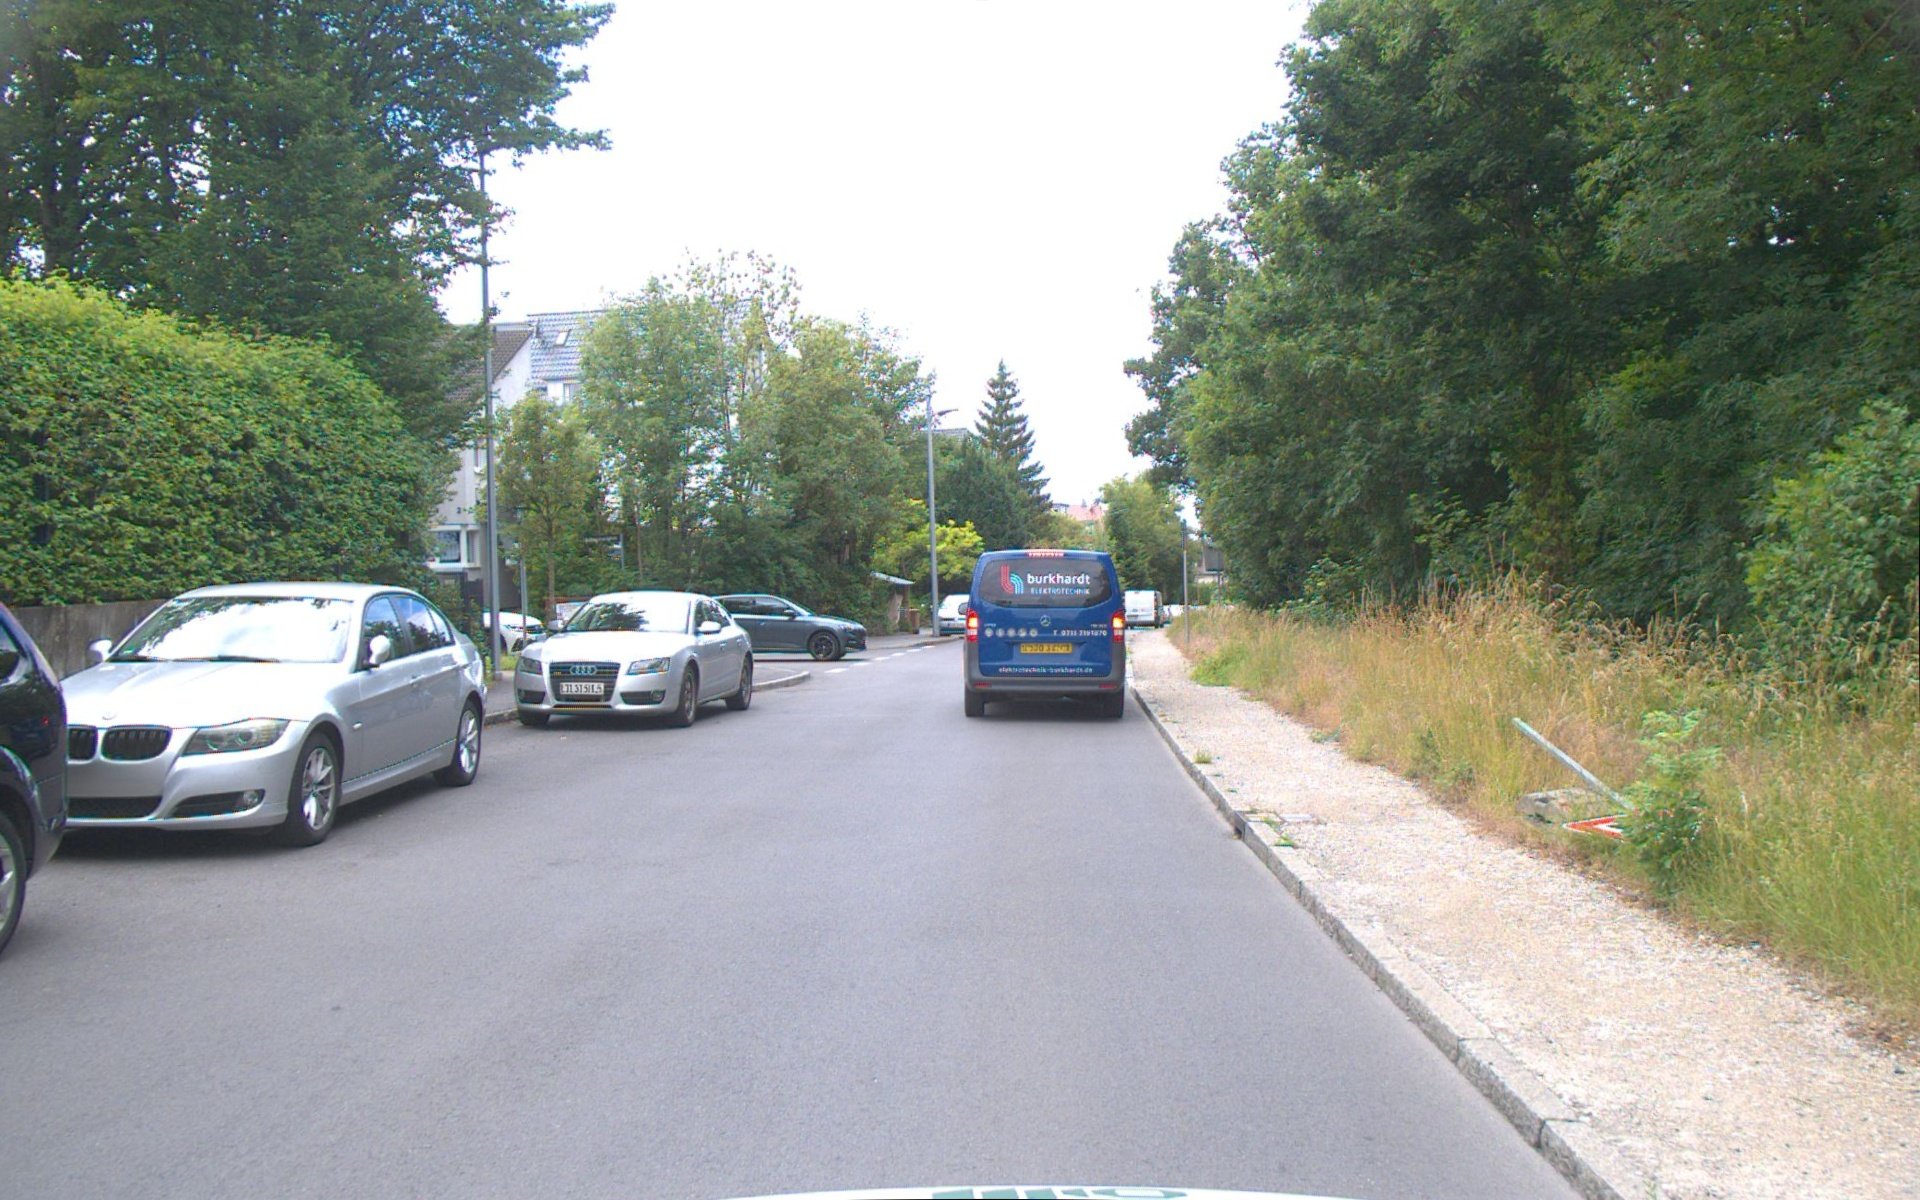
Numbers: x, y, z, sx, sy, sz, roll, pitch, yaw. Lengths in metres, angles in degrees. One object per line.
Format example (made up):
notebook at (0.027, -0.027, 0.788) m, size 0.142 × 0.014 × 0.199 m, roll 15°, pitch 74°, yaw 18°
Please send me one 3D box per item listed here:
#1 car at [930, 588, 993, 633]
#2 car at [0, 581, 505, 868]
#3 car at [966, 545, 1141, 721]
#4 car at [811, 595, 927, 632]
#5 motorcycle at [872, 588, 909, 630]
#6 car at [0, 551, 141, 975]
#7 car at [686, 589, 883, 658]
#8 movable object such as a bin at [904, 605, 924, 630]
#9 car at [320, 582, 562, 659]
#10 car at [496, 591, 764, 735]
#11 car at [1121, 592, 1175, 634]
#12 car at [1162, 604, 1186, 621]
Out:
car at (0.103, 0.359, 57.055) m, size 1.669 × 1.493 × 4.079 m, roll 0°, pitch 0°, yaw 7°
car at (-4.299, 0.593, 10.272) m, size 1.738 × 1.398 × 4.340 m, roll 0°, pitch 0°, yaw 0°
car at (1.095, 0.339, 20.261) m, size 1.896 × 1.913 × 4.532 m, roll 0°, pitch 0°, yaw 2°
car at (-3.656, 0.546, 66.994) m, size 4.385 × 1.466 × 1.880 m, roll 0°, pitch -1°, yaw 10°
motorcycle at (-2.502, 0.323, 59.907) m, size 0.792 × 1.511 × 2.898 m, roll 0°, pitch 0°, yaw 9°
car at (-4.383, 0.605, 4.837) m, size 1.622 × 1.560 × 4.475 m, roll 0°, pitch 0°, yaw 2°
car at (-3.842, 0.502, 36.672) m, size 4.079 × 1.472 × 1.741 m, roll 0°, pitch 0°, yaw 5°
movable object such as a bin at (-1.724, 0.656, 61.917) m, size 0.578 × 0.925 × 0.701 m, roll 0°, pitch 0°, yaw 14°
car at (-11.746, 0.462, 37.635) m, size 4.831 × 1.699 × 2.039 m, roll 0°, pitch 0°, yaw 6°
car at (-3.522, 0.606, 18.541) m, size 1.793 × 1.398 × 4.448 m, roll 0°, pitch 0°, yaw 4°
car at (9.903, 0.630, 86.717) m, size 2.159 × 2.100 × 6.140 m, roll -1°, pitch 0°, yaw 12°
car at (18.511, 1.048, 143.111) m, size 1.711 × 1.429 × 4.003 m, roll 0°, pitch 0°, yaw 13°
